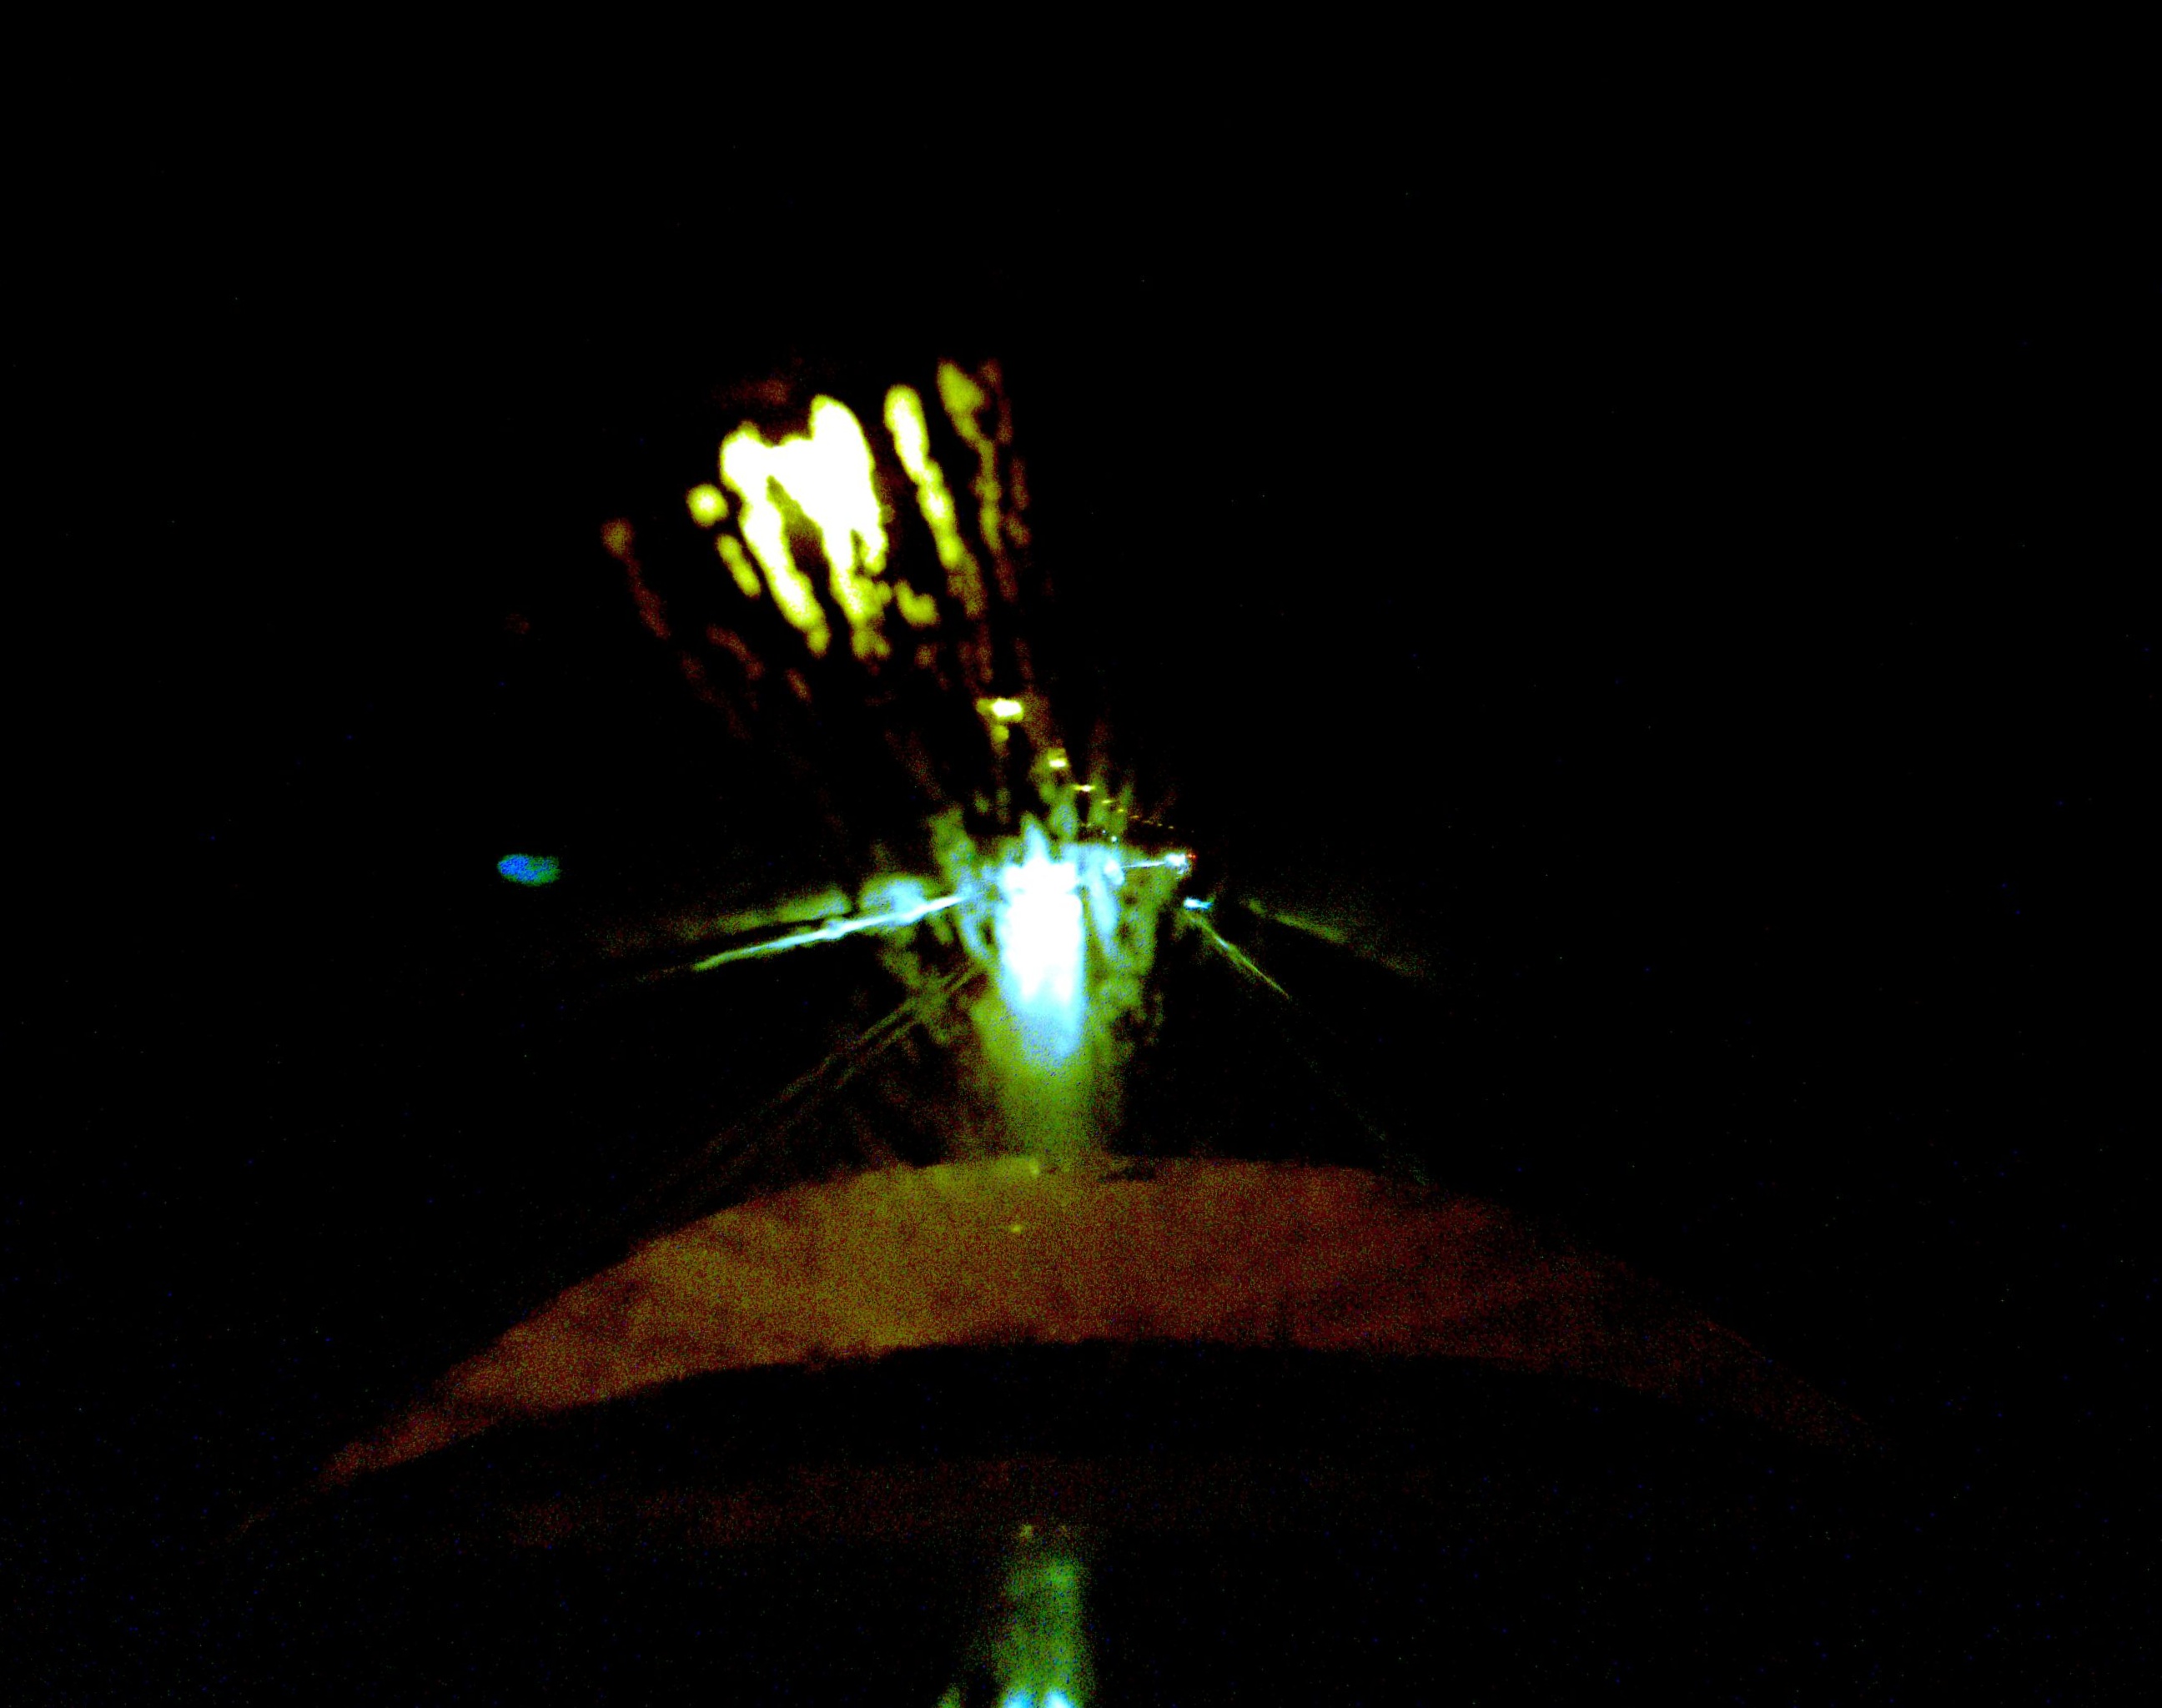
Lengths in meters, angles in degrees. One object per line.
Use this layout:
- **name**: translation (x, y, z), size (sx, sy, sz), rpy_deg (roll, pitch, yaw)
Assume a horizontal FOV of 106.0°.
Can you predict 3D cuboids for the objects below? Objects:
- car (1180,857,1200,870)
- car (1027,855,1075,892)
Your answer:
- **car**: translation (14.502, 1.203, 108.571), size (1.978, 1.650, 4.018), rpy_deg (0, 0, 17)
- **car**: translation (-1.249, 0.818, 35.414), size (1.701, 1.510, 4.083), rpy_deg (0, 0, 3)
